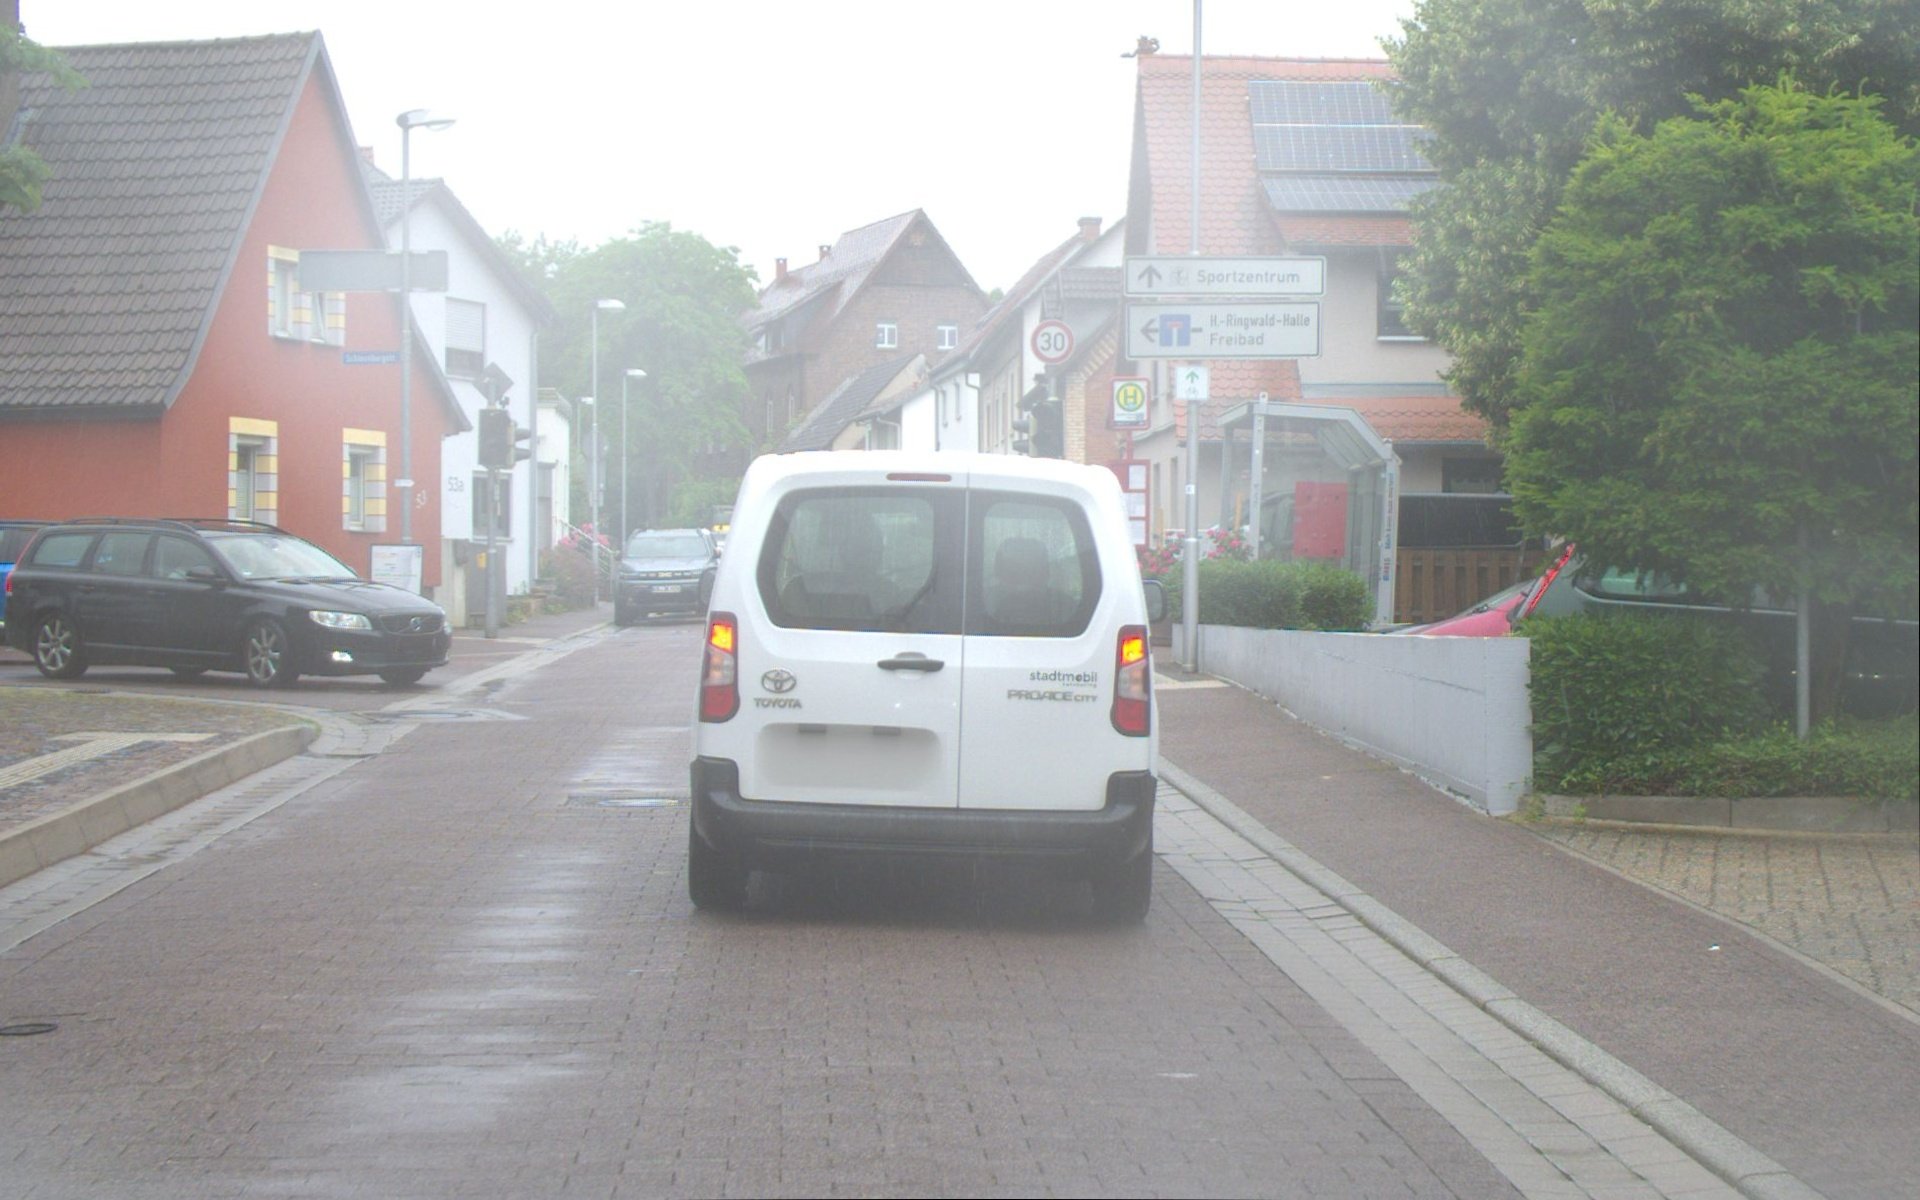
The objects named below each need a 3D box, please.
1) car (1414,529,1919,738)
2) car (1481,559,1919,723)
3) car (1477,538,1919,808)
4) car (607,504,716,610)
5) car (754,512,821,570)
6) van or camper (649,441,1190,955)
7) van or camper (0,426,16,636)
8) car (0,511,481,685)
[{"bbox_3d":[5.784,0.235,27.711,4.070,1.584,1.856,1,1,12],"label":"car"},{"bbox_3d":[6.627,0.341,30.220,3.952,1.374,1.751,0,1,6],"label":"car"},{"bbox_3d":[5.185,0.391,19.845,4.230,1.475,1.694,1,1,13],"label":"car"},{"bbox_3d":[-5.177,-0.777,60.075,1.812,1.773,4.018,-1,2,-4],"label":"car"},{"bbox_3d":[-5.647,-1.944,112.107,1.993,1.741,4.001,1,2,-5],"label":"car"},{"bbox_3d":[-0.265,0.318,14.557,1.943,1.844,4.001,1,1,-3],"label":"van or camper"},{"bbox_3d":[-13.776,-0.787,39.948,5.148,2.427,2.209,0,2,24],"label":"van or camper"},{"bbox_3d":[-6.663,-0.049,31.552,4.308,1.472,1.846,0,2,33],"label":"car"}]
